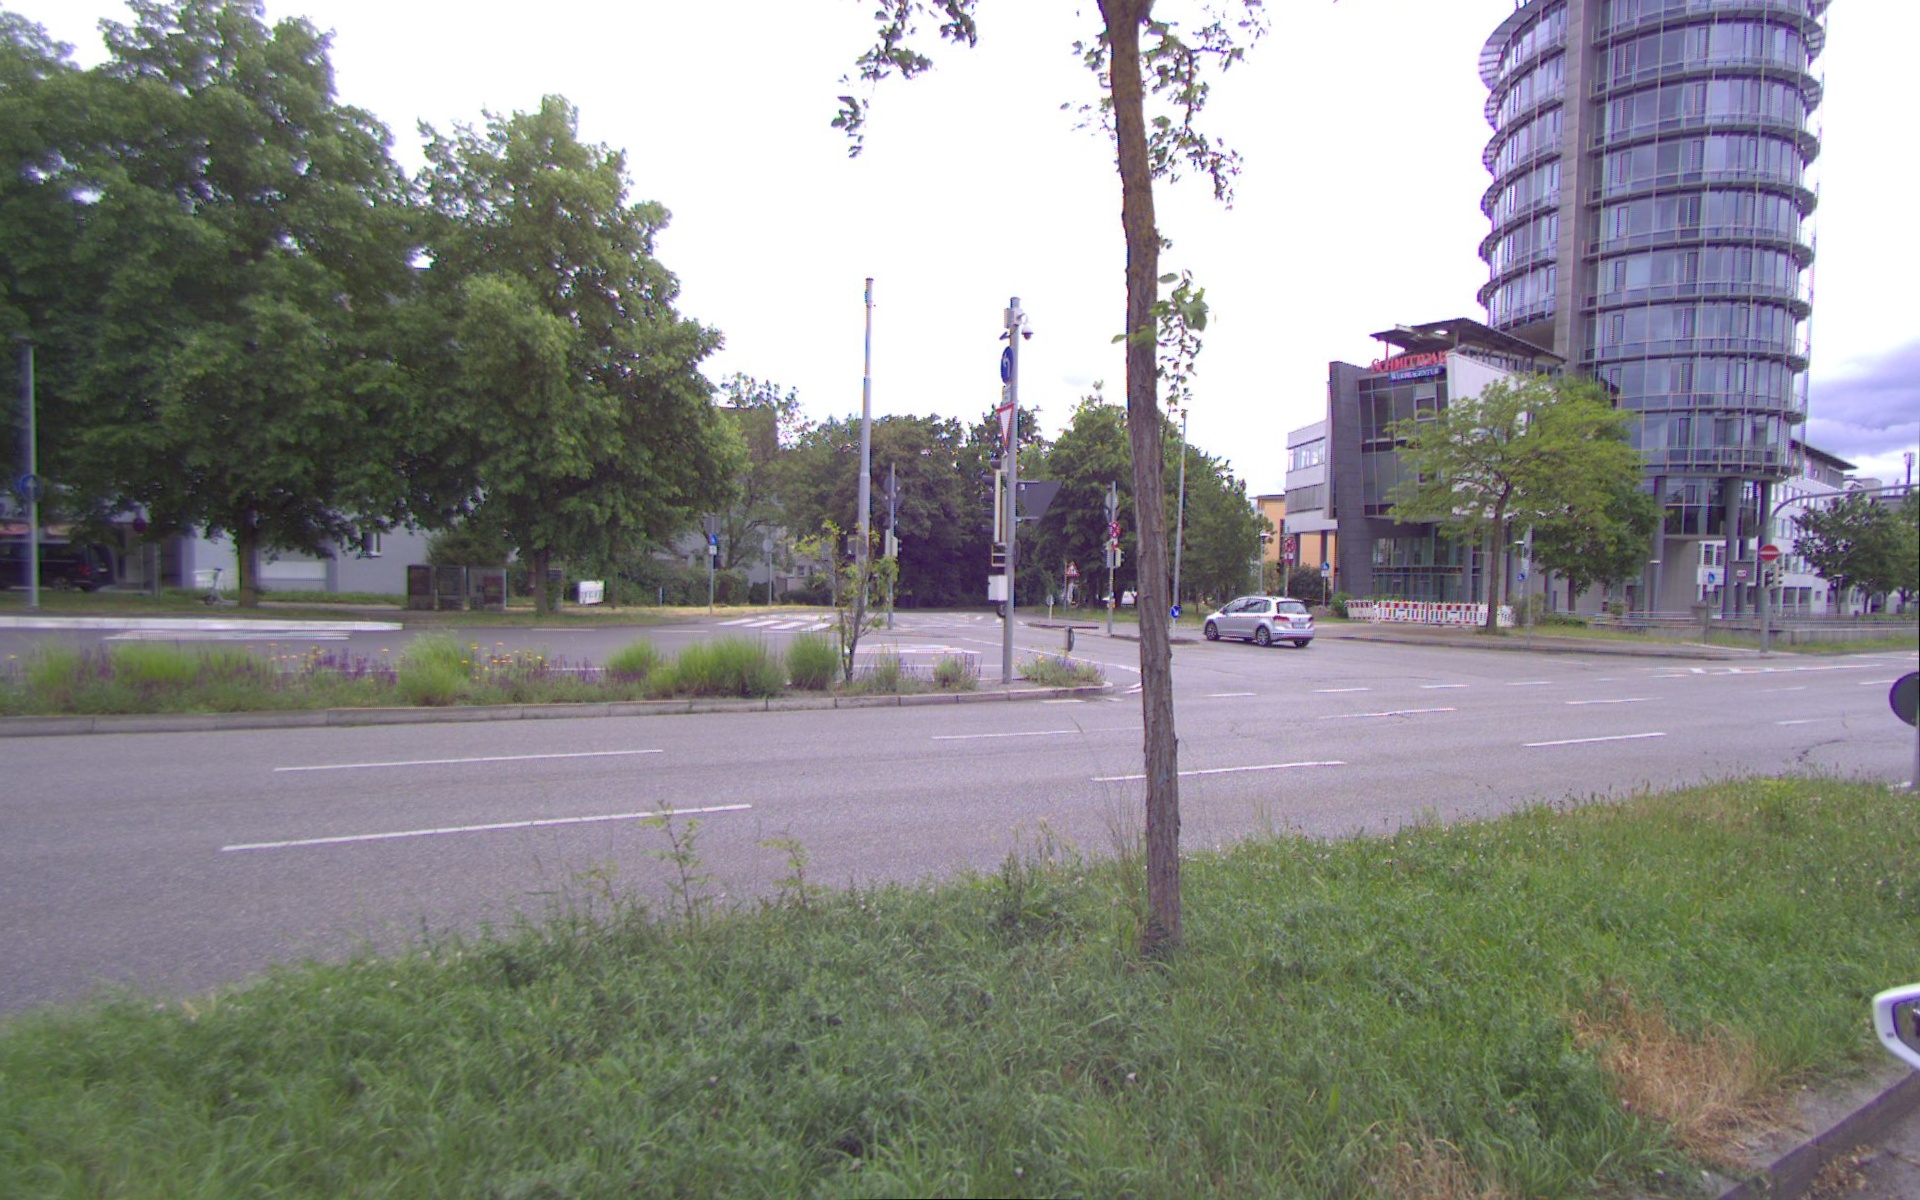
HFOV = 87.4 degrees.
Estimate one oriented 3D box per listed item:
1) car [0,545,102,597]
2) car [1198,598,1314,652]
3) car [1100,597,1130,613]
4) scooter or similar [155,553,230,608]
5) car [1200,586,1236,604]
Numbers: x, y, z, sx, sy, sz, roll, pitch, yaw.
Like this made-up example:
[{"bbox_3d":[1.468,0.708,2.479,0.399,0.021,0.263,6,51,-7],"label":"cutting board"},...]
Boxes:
[{"bbox_3d":[-35.379,-1.096,37.759,4.344,1.872,1.782,1,1,-15],"label":"car"},{"bbox_3d":[9.725,0.778,33.314,1.532,1.590,3.978,1,1,-22],"label":"car"},{"bbox_3d":[25.760,0.818,166.721,4.474,2.370,1.994,2,0,-15],"label":"car"},{"bbox_3d":[-24.033,-0.598,31.474,1.834,1.686,0.645,1,1,-42],"label":"scooter or similar"},{"bbox_3d":[13.196,-0.242,51.406,1.684,0.888,0.776,1,1,8],"label":"car"}]
